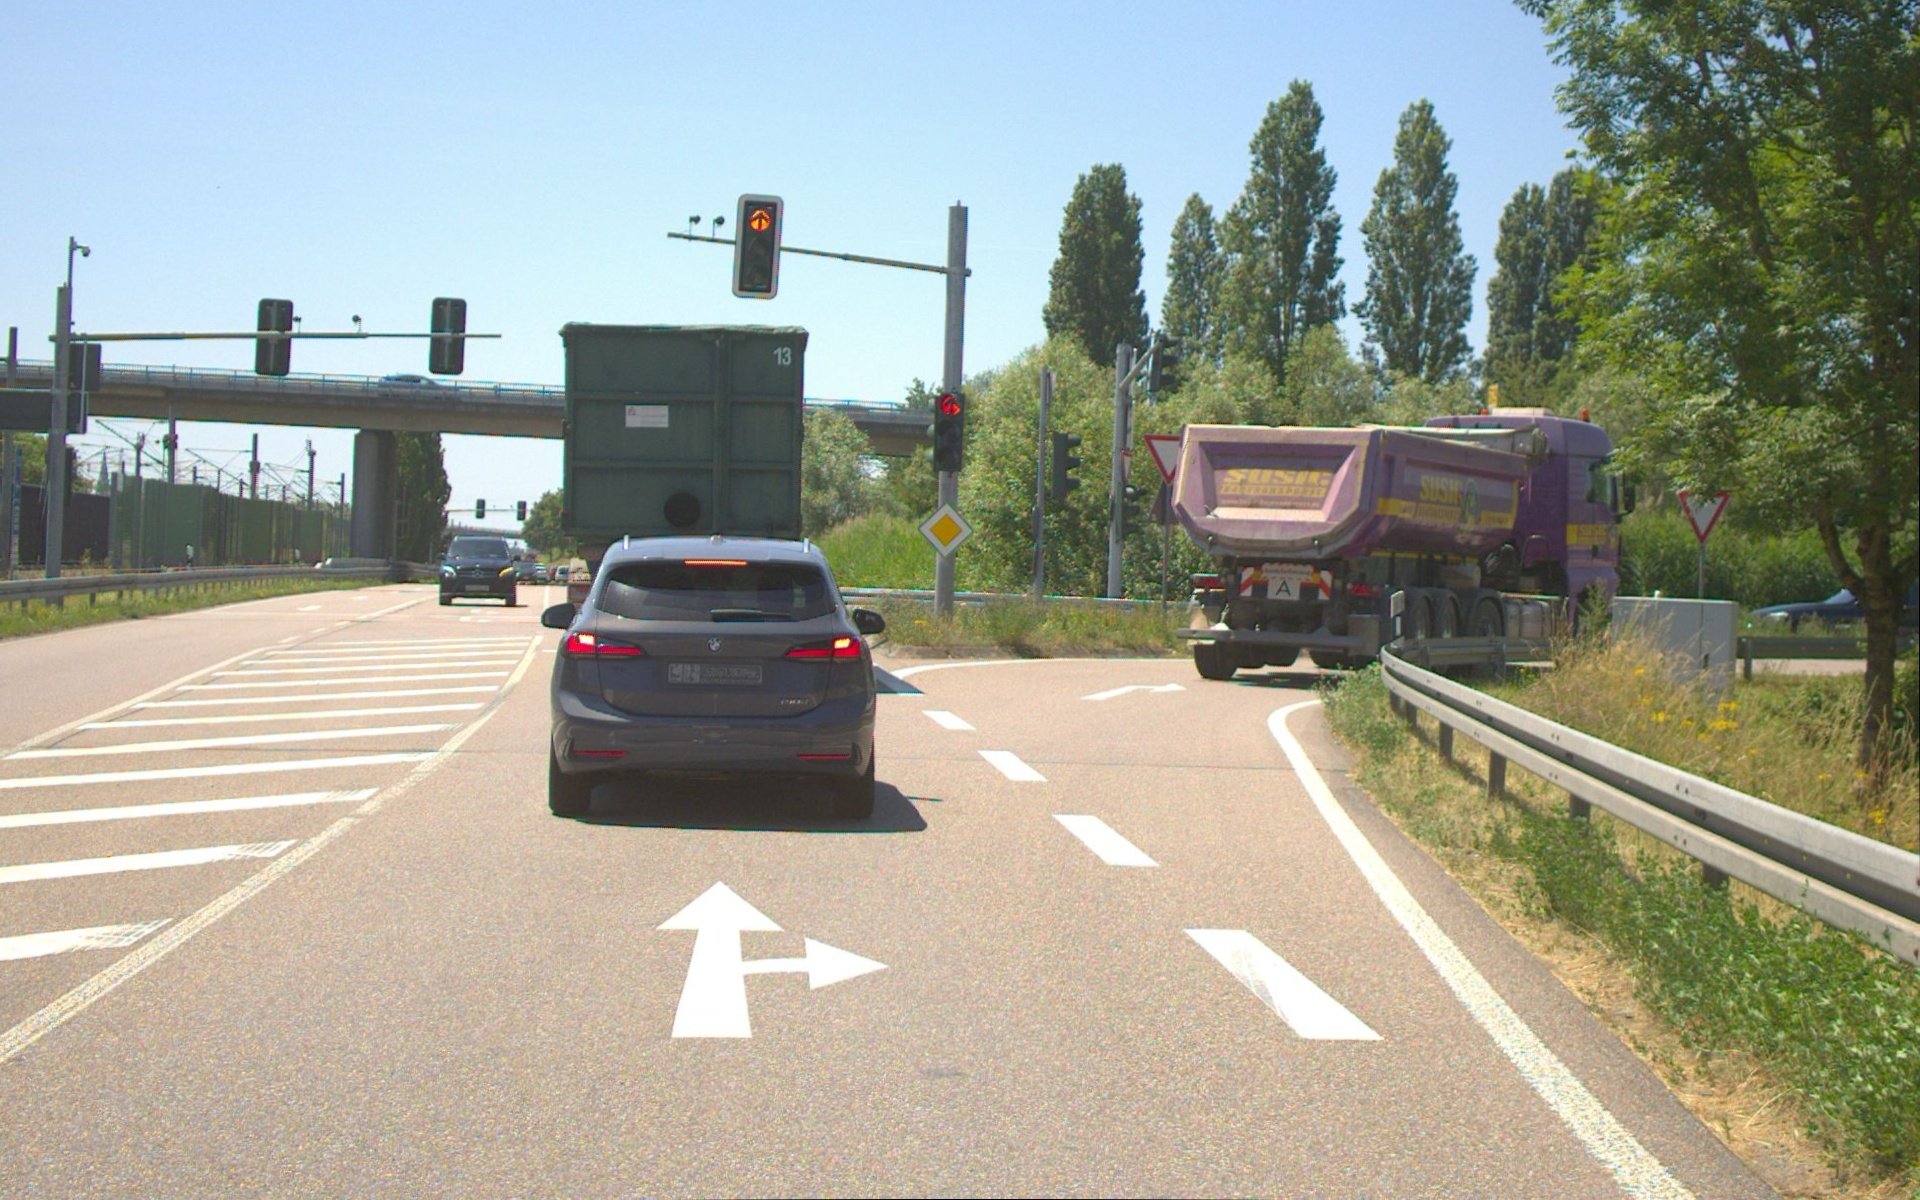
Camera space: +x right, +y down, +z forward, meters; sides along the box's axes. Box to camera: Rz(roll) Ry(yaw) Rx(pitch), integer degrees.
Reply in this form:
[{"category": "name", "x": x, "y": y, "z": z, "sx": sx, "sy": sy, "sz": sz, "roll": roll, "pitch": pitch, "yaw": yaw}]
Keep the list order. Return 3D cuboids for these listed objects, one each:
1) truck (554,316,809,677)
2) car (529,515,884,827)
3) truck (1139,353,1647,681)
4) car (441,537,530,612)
[{"category": "truck", "x": -3.340, "y": -1.189, "z": 40.923, "sx": 2.589, "sy": 3.724, "sz": 9.577, "roll": 1, "pitch": 1, "yaw": -5}, {"category": "car", "x": -1.421, "y": 0.348, "z": 20.372, "sx": 1.844, "sy": 1.617, "sz": 4.226, "roll": 1, "pitch": 1, "yaw": -2}, {"category": "truck", "x": 6.129, "y": -1.009, "z": 45.904, "sx": 2.837, "sy": 3.808, "sz": 11.867, "roll": 2, "pitch": 1, "yaw": 27}, {"category": "car", "x": -12.081, "y": -0.673, "z": 87.759, "sx": 1.927, "sy": 1.761, "sz": 4.598, "roll": 2, "pitch": 1, "yaw": -5}]
